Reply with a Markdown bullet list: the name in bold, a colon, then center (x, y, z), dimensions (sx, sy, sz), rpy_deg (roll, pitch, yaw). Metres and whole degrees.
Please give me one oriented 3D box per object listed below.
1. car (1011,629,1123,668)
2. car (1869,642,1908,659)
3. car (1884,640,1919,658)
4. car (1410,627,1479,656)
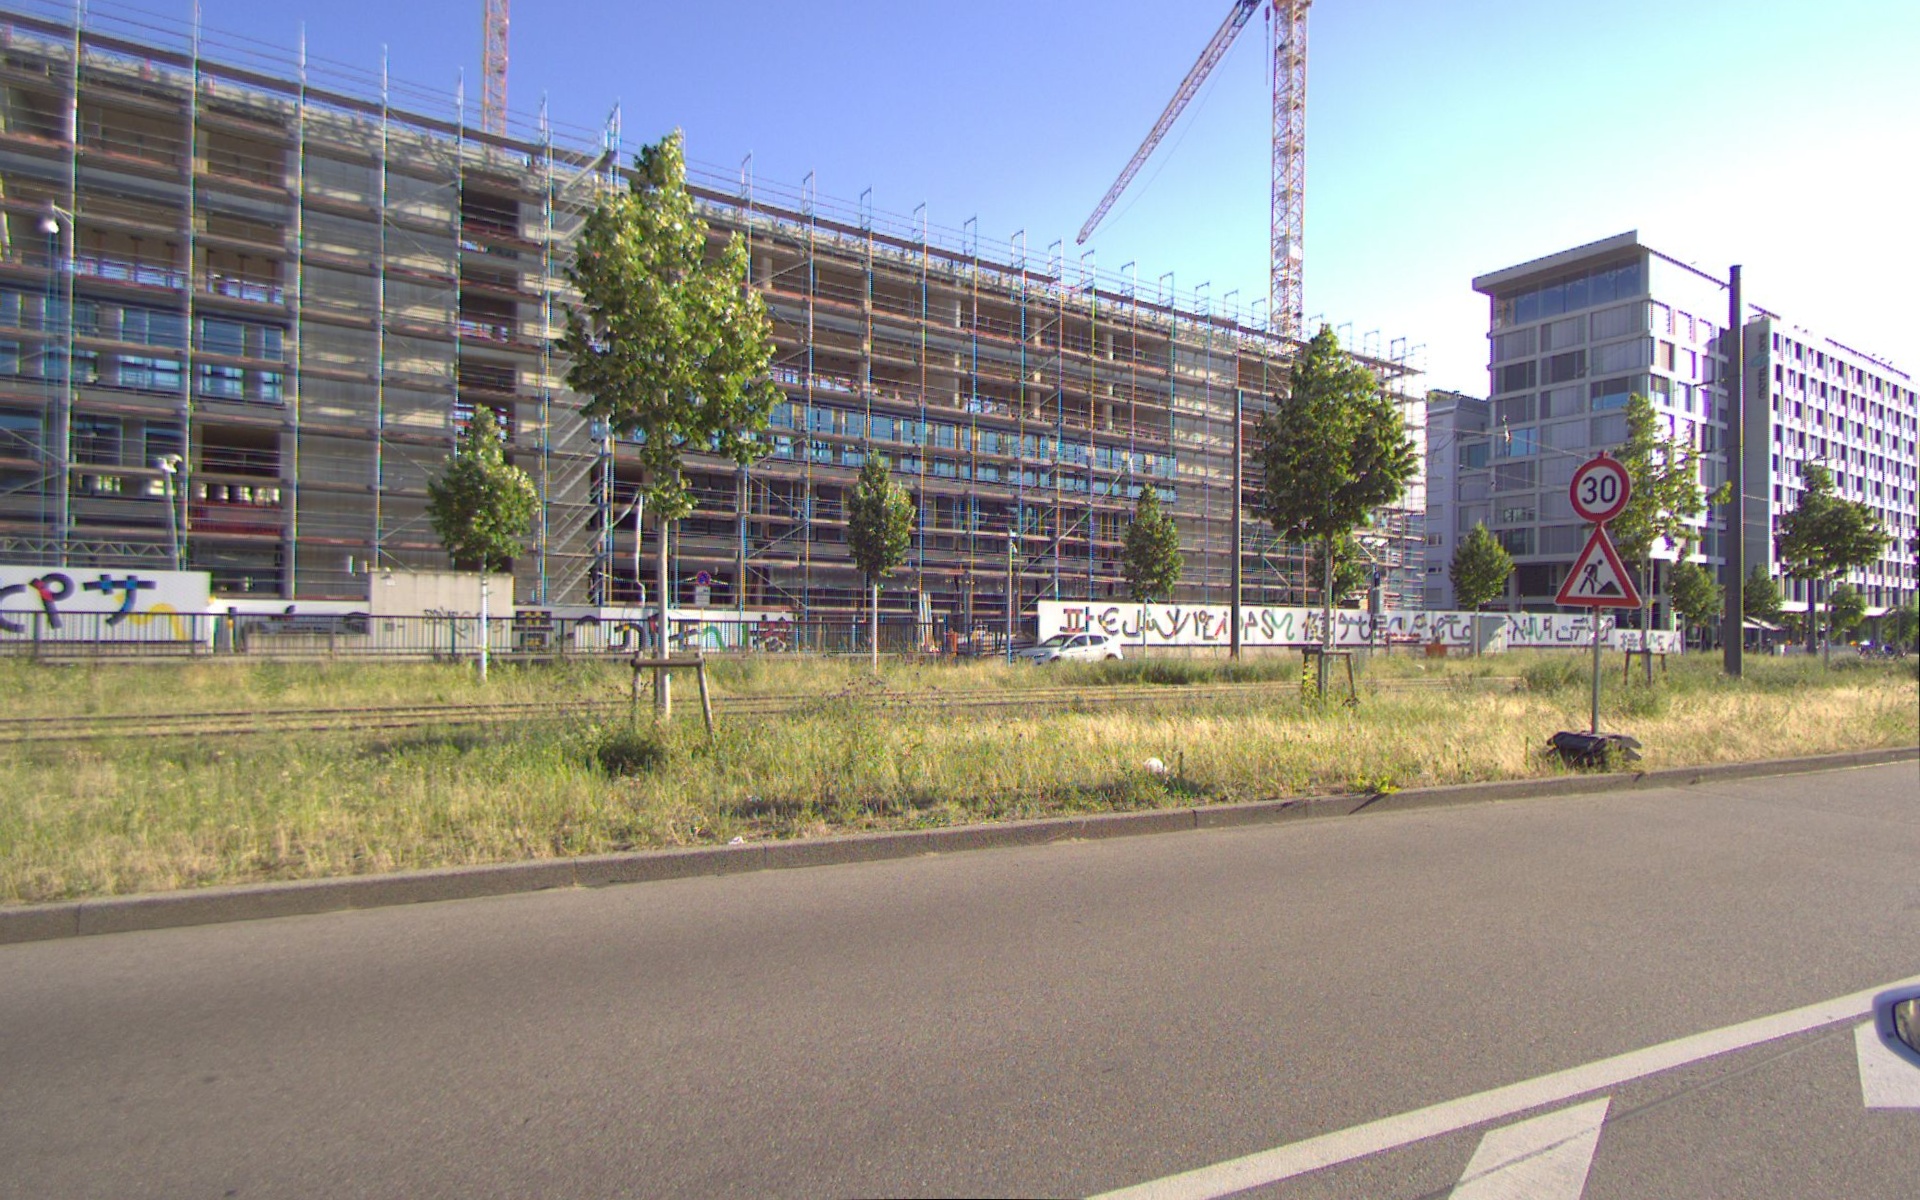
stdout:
- **car**: center (4.002, 1.788, 37.400), dimensions (4.045, 1.327, 1.520), rpy_deg (1, -1, -30)
- **car**: center (84.033, 4.572, 90.891), dimensions (3.543, 1.461, 1.699), rpy_deg (2, 0, -32)
- **car**: center (82.807, 4.307, 88.126), dimensions (3.543, 1.461, 1.699), rpy_deg (2, 0, -32)
- **car**: center (26.184, 2.259, 54.255), dimensions (3.543, 1.461, 1.699), rpy_deg (2, 0, -32)
